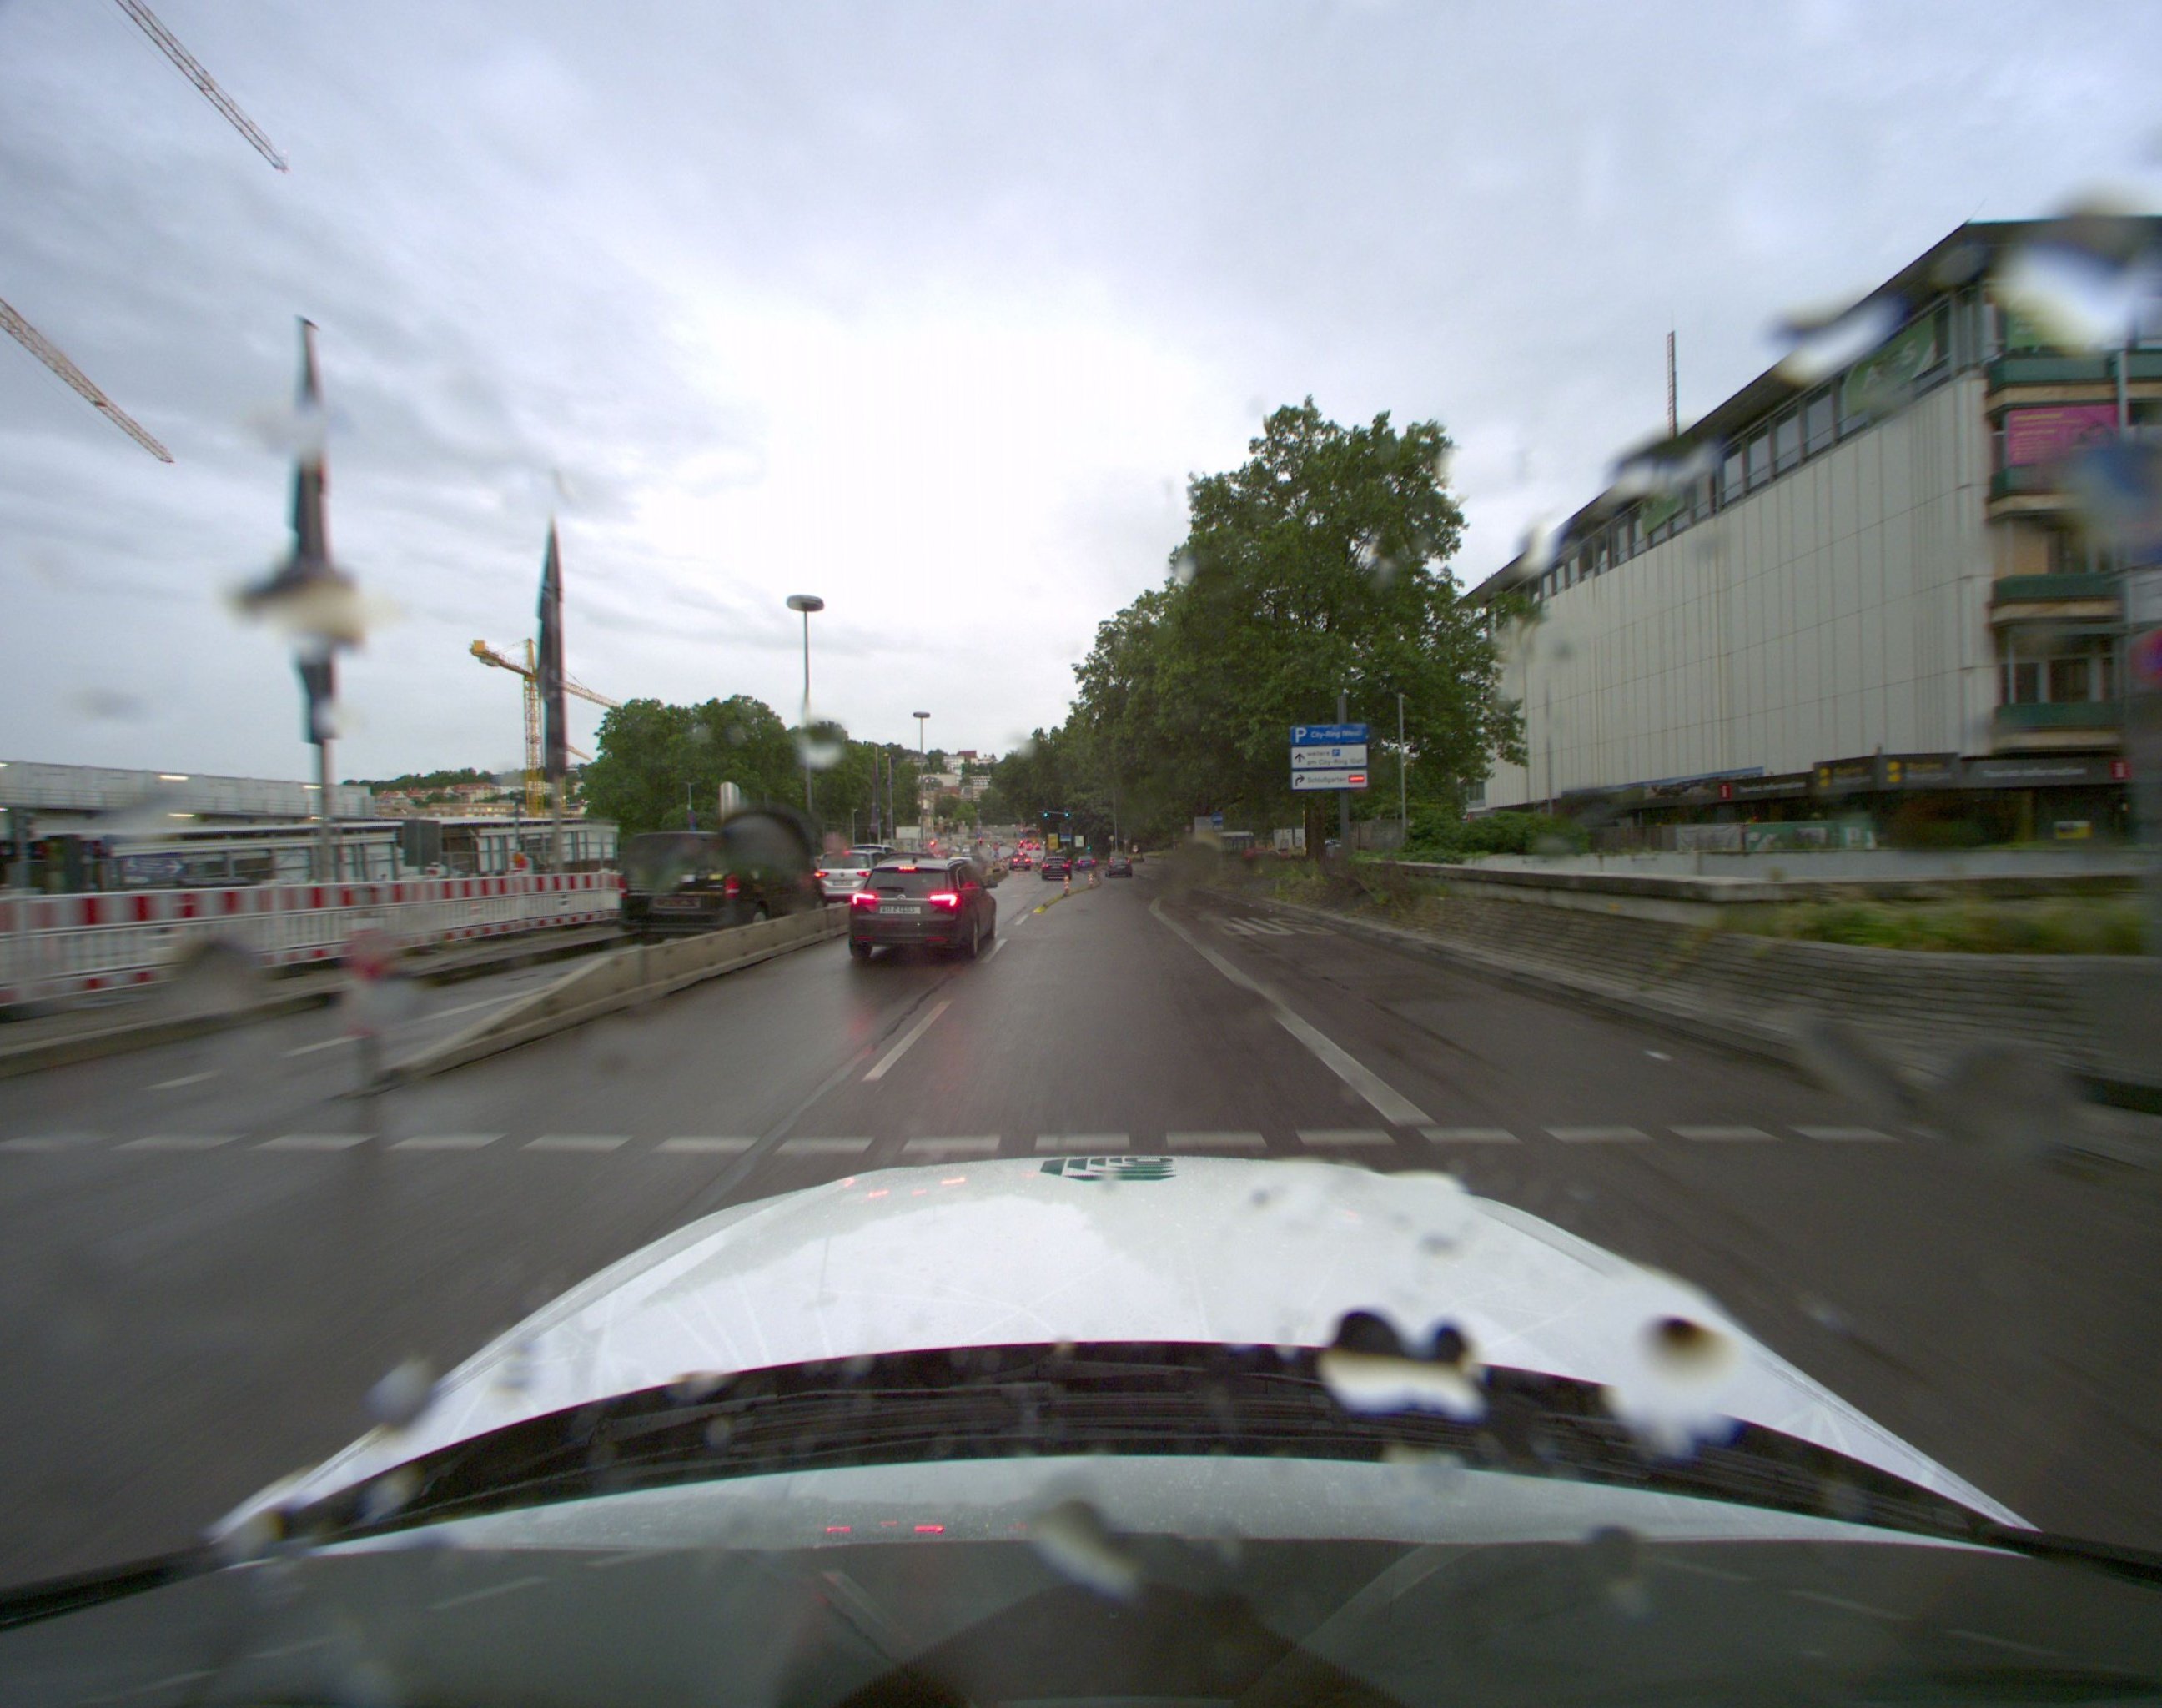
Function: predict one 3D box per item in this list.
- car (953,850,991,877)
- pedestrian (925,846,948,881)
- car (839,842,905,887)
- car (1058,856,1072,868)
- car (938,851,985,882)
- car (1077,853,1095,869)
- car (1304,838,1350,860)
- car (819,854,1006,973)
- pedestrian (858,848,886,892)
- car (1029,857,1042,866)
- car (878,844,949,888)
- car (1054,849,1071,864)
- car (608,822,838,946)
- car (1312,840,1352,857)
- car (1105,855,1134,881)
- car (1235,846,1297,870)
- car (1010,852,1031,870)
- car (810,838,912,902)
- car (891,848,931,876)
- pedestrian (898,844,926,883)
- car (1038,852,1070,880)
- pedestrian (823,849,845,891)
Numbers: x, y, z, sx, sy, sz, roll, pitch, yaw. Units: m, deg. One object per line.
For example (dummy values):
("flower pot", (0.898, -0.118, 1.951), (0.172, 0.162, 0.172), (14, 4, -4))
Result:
("car", (-6.858, 0.594, 51.427), (1.989, 1.530, 4.147), (-3, 0, -3))
("pedestrian", (-8.471, 0.557, 47.839), (1.017, 2.013, 0.840), (-1, 0, 15))
("car", (-9.916, 0.501, 39.109), (1.989, 2.014, 5.364), (0, 0, -3))
("car", (-2.197, 1.058, 111.254), (1.633, 1.624, 3.786), (0, 0, -7))
("car", (-6.697, 0.672, 46.014), (1.988, 1.567, 4.872), (-3, 0, -2))
("car", (0.517, 0.715, 82.405), (1.668, 1.581, 3.241), (0, 0, 2))
("car", (22.757, -0.448, 75.235), (4.675, 2.014, 2.107), (0, -1, -45))
("car", (-2.406, 0.765, 12.950), (1.871, 1.508, 4.852), (-1, 0, 1))
("pedestrian", (-8.652, 0.639, 33.756), (0.829, 1.784, 1.029), (-1, 0, 4))
("car", (-7.685, 1.265, 137.259), (1.813, 1.574, 3.988), (0, 0, -8))
("car", (-6.219, 0.436, 30.712), (1.818, 1.511, 4.487), (0, 0, -1))
("car", (-2.082, 0.305, 92.814), (1.897, 1.717, 4.000), (0, 0, 0))
("car", (-6.086, 0.460, 14.661), (1.988, 1.845, 5.059), (0, 0, -1))
("car", (25.937, -0.539, 84.128), (4.479, 1.781, 1.927), (0, -1, -42))
("car", (2.630, 0.929, 56.370), (1.845, 1.717, 4.000), (0, 0, 0))
("car", (12.252, 0.280, 53.945), (3.573, 1.506, 1.745), (-1, -1, 41))
("car", (-6.430, 0.738, 86.295), (1.992, 1.827, 3.989), (0, 0, -8))
("car", (-6.351, 0.449, 24.033), (1.818, 1.696, 4.771), (0, 0, -1))
("car", (-10.255, 0.477, 49.293), (1.710, 1.629, 4.051), (0, 0, -3))
("pedestrian", (-7.494, 0.424, 36.138), (1.020, 1.675, 0.837), (-1, 0, 3))
("car", (-1.703, 0.740, 52.461), (1.824, 1.686, 4.134), (-1, 0, 1))
("pedestrian", (-10.279, 0.658, 33.911), (0.631, 1.753, 0.823), (0, -1, 5))
